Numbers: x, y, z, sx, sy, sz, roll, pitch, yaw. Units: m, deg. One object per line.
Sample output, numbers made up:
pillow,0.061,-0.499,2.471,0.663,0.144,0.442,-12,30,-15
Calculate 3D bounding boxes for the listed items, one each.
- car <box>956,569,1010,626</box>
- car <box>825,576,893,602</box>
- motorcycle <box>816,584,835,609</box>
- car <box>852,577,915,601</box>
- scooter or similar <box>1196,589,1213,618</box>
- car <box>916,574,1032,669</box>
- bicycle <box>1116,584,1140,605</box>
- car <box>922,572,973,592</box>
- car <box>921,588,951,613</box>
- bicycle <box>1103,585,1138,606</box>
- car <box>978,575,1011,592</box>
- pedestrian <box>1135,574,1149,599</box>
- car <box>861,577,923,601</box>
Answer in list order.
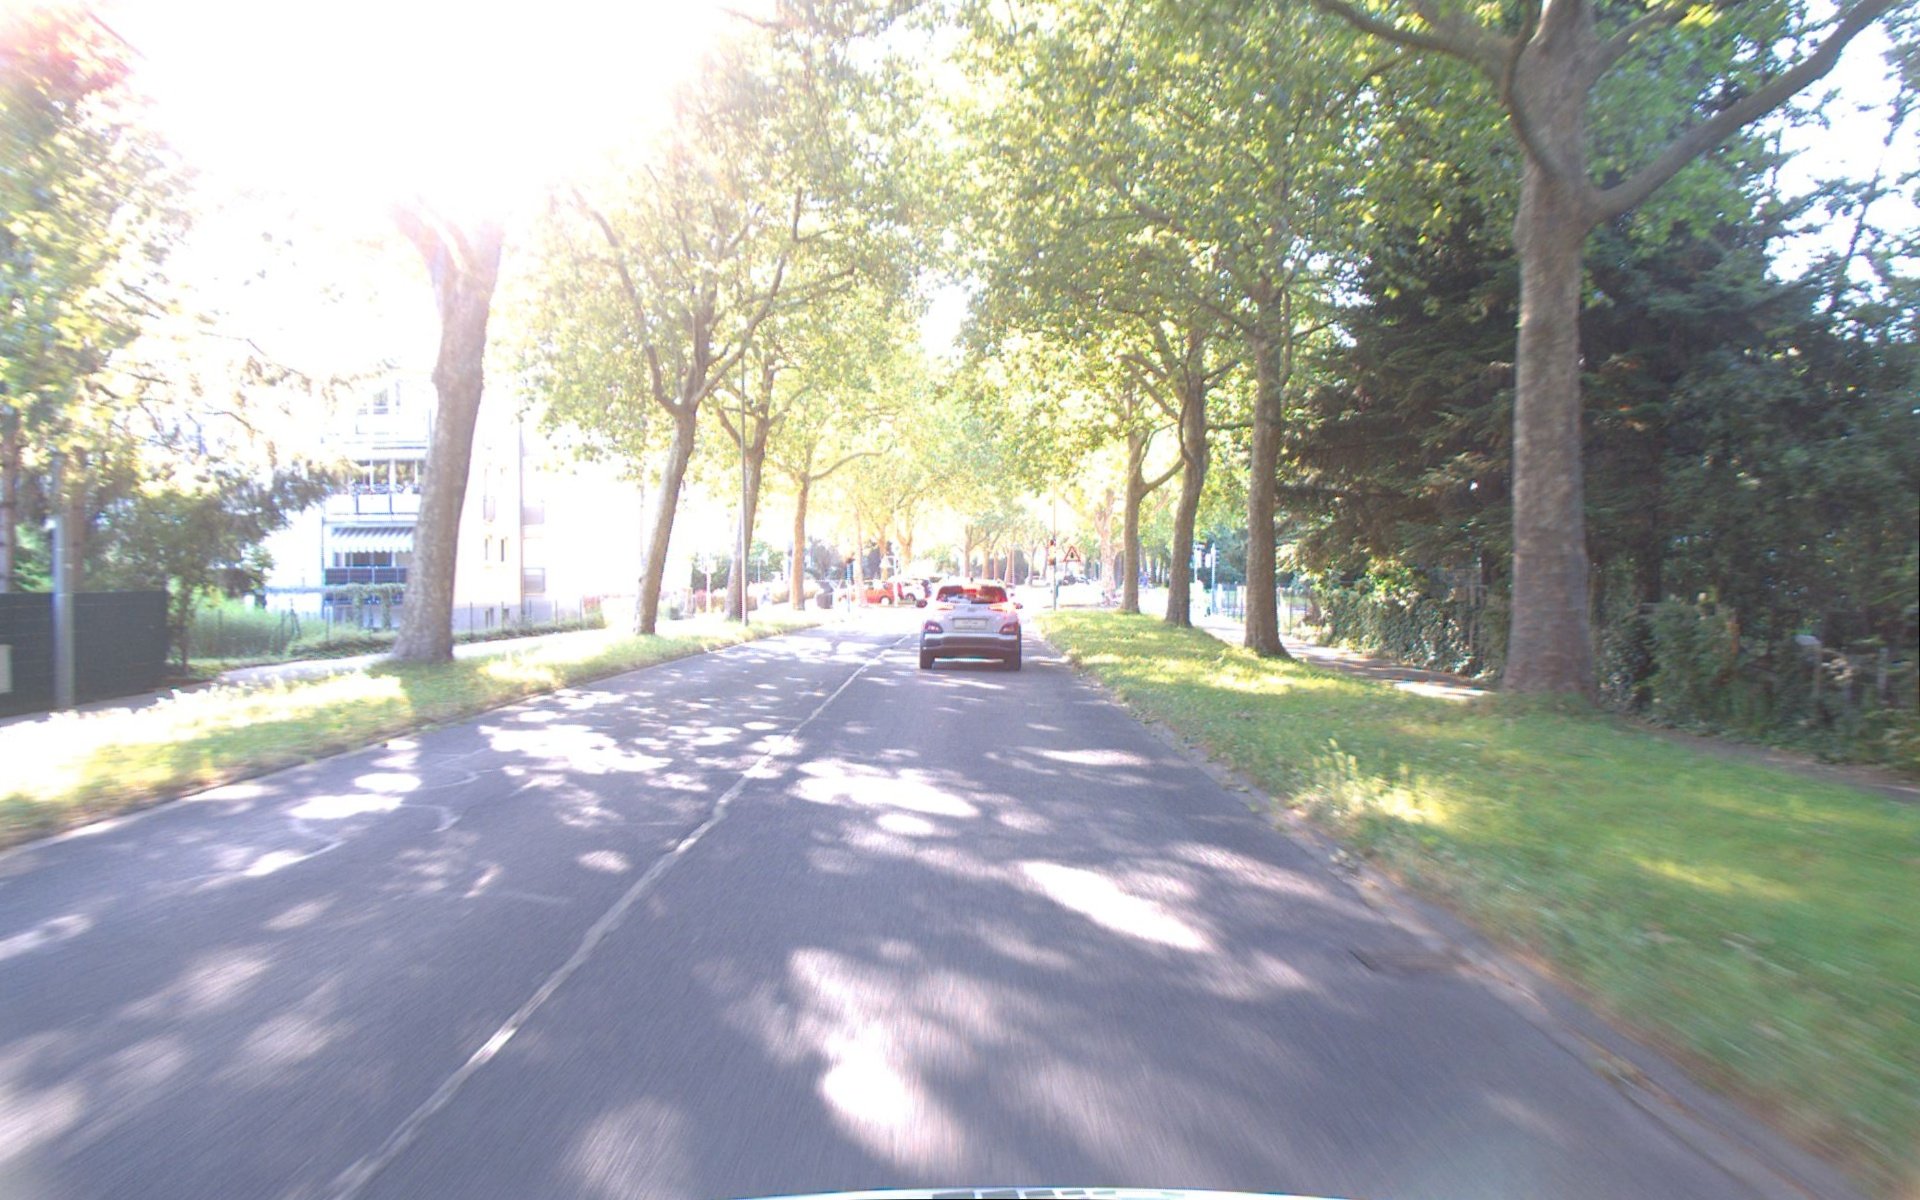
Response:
car,0.860,-0.121,64.091,1.953,2.048,4.000,2,1,0
car,-6.083,-0.645,100.035,3.904,1.504,2.001,1,0,2
motorcycle,-7.766,-0.215,95.531,0.828,1.403,2.777,1,0,1
car,-4.952,-0.700,107.670,3.904,1.504,2.001,1,0,2
scooter or similar,11.051,0.137,74.878,0.538,1.280,2.314,1,0,3
car,0.283,0.360,30.241,1.952,1.602,4.001,1,0,1
bicycle,9.540,-0.308,94.098,0.594,1.204,2.108,1,0,-17
car,-0.961,-1.405,129.567,3.904,1.504,2.001,1,0,2
car,-1.473,0.030,102.365,1.653,1.462,3.683,1,1,2
bicycle,8.997,-0.258,92.852,0.600,1.184,2.117,1,0,-41
car,3.982,-1.906,191.436,3.599,1.840,1.746,0,1,-8
pedestrian,14.972,-1.133,136.102,1.071,2.048,1.106,2,1,8
car,-4.522,-0.718,109.993,3.903,1.504,2.001,1,0,4
